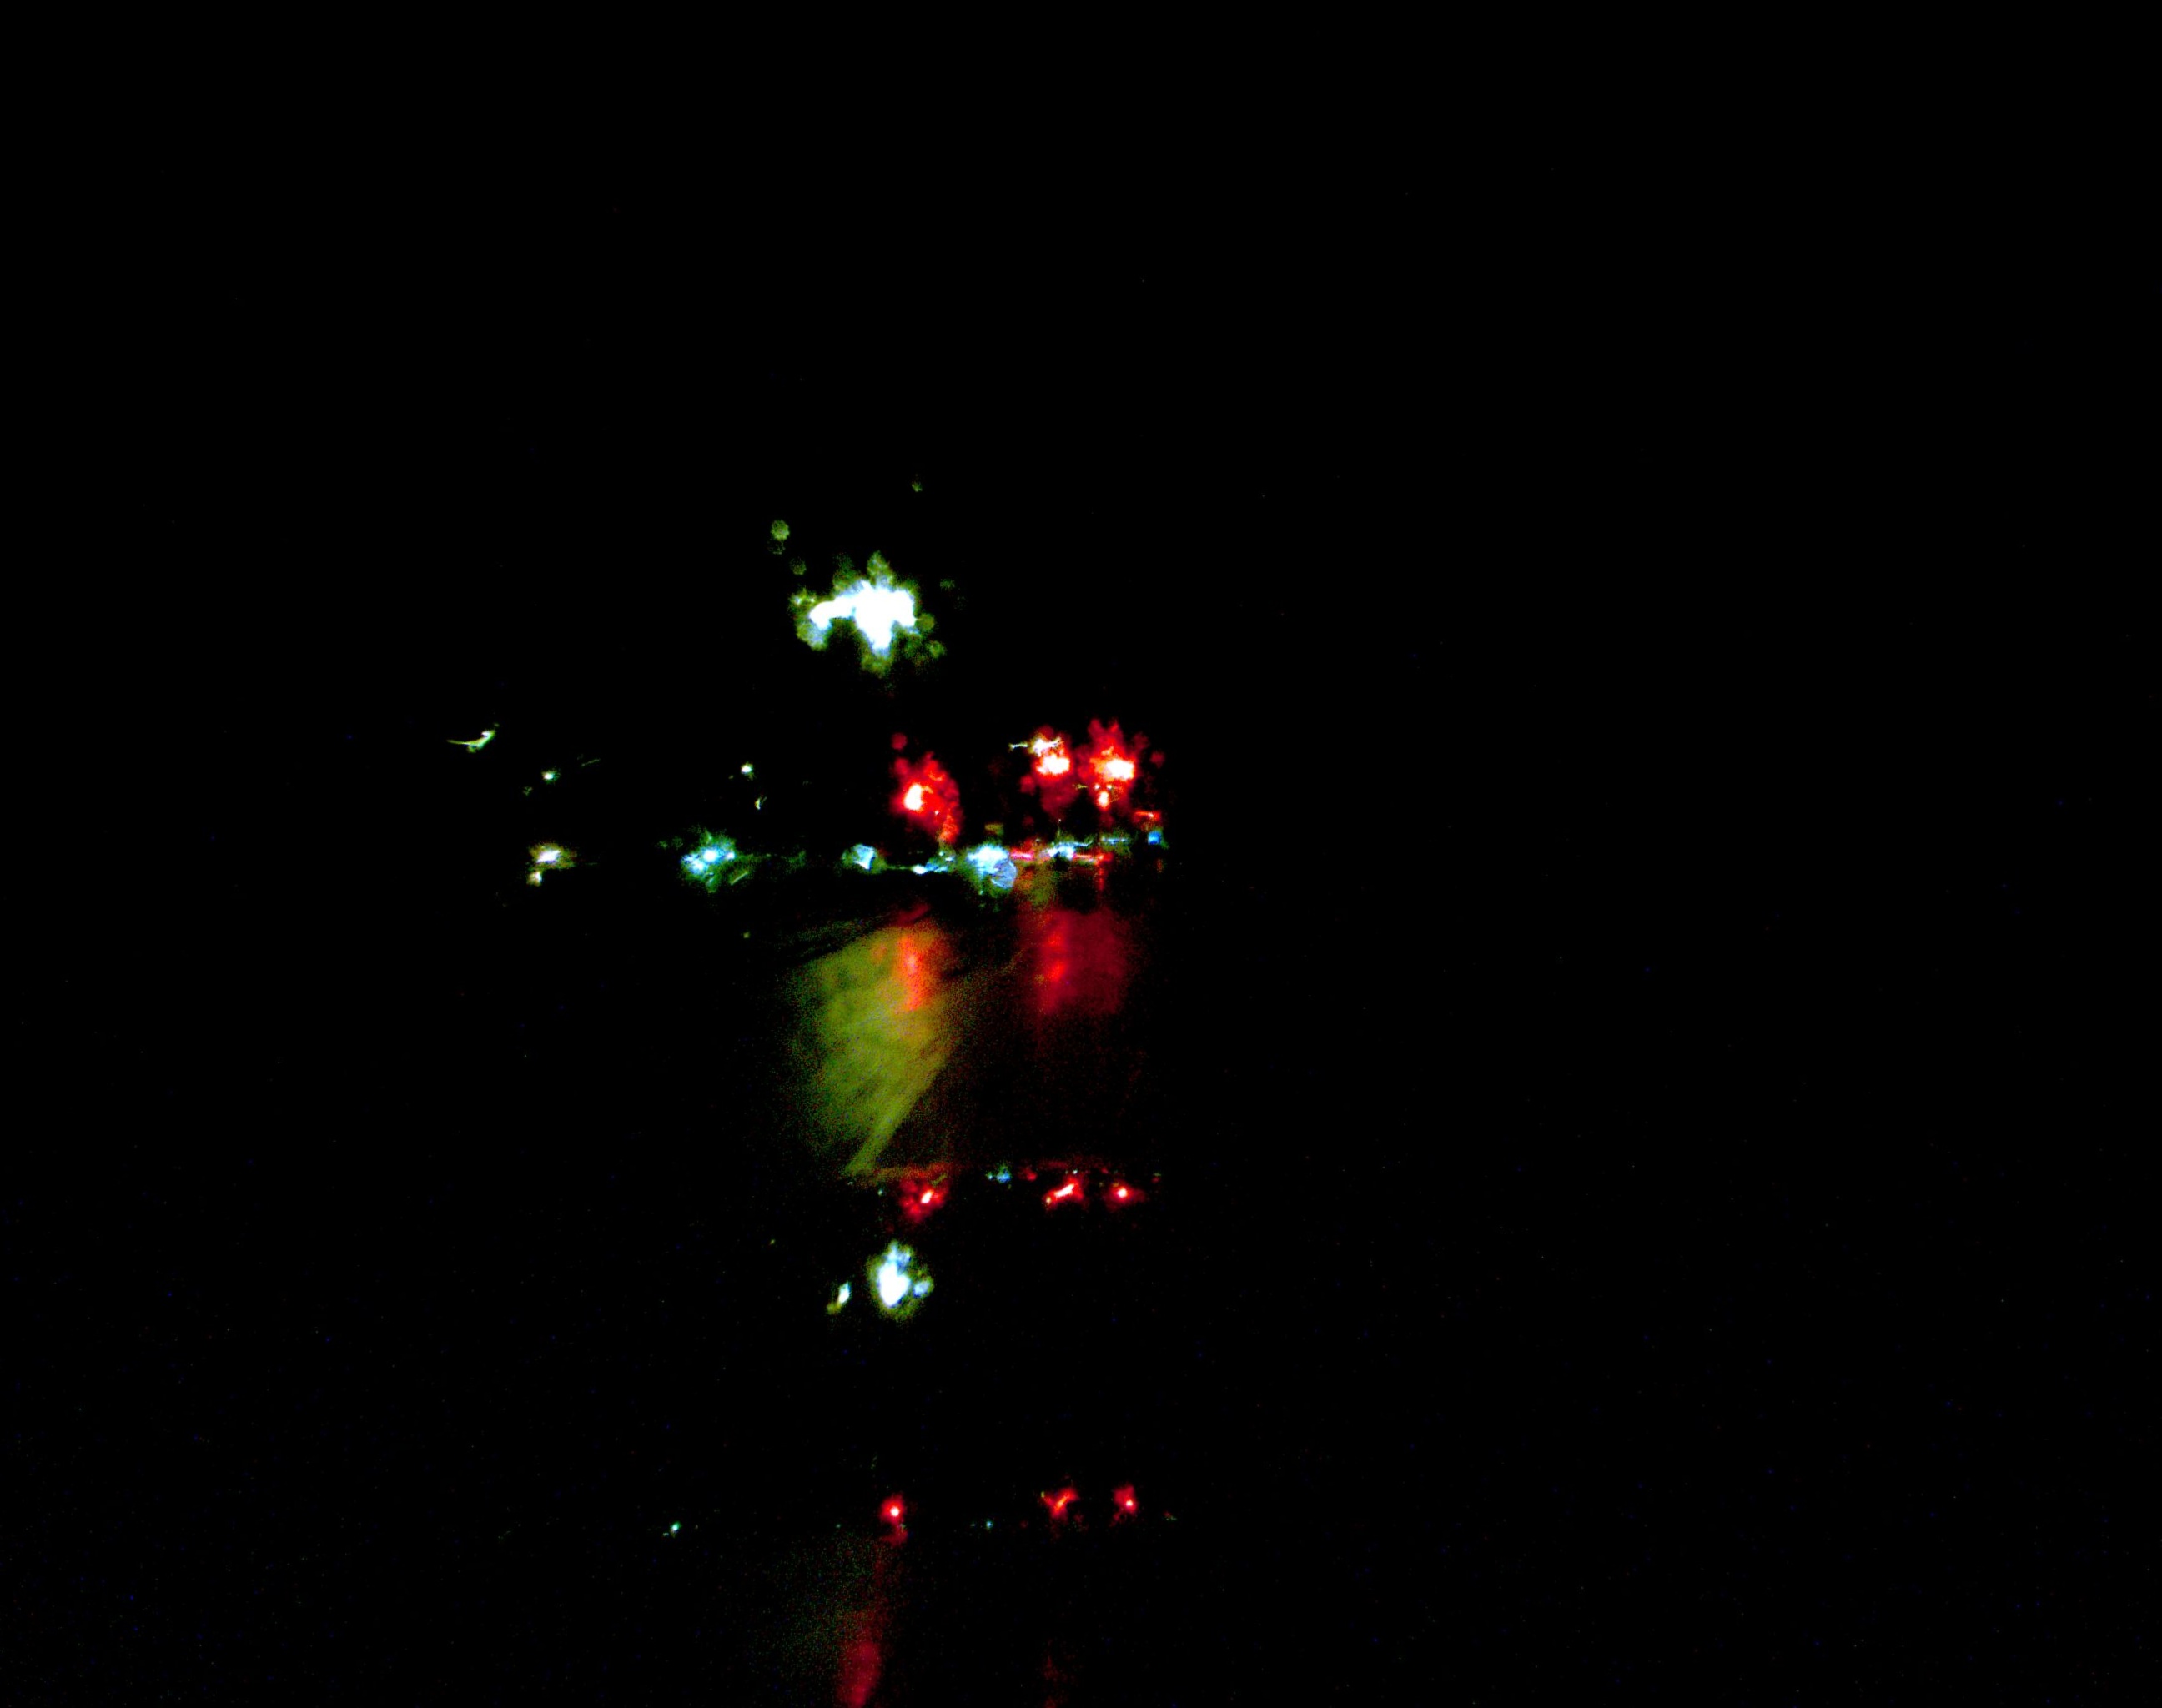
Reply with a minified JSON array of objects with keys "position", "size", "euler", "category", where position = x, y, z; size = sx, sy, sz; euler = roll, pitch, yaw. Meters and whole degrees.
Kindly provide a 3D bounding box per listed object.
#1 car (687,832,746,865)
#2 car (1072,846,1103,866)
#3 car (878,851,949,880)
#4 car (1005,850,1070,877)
[{"position":[-23.321,-0.345,52.086],"size":[3.949,2.013,2.012],"euler":[-1,0,43],"category":"car"},{"position":[0.556,0.139,62.079],"size":[1.952,1.428,3.940],"euler":[-1,0,6],"category":"car"},{"position":[-10.138,0.657,49.509],"size":[3.978,1.662,1.998],"euler":[-1,0,-3],"category":"car"},{"position":[-2.880,0.606,54.218],"size":[1.975,1.662,4.023],"euler":[-1,0,45],"category":"car"}]
